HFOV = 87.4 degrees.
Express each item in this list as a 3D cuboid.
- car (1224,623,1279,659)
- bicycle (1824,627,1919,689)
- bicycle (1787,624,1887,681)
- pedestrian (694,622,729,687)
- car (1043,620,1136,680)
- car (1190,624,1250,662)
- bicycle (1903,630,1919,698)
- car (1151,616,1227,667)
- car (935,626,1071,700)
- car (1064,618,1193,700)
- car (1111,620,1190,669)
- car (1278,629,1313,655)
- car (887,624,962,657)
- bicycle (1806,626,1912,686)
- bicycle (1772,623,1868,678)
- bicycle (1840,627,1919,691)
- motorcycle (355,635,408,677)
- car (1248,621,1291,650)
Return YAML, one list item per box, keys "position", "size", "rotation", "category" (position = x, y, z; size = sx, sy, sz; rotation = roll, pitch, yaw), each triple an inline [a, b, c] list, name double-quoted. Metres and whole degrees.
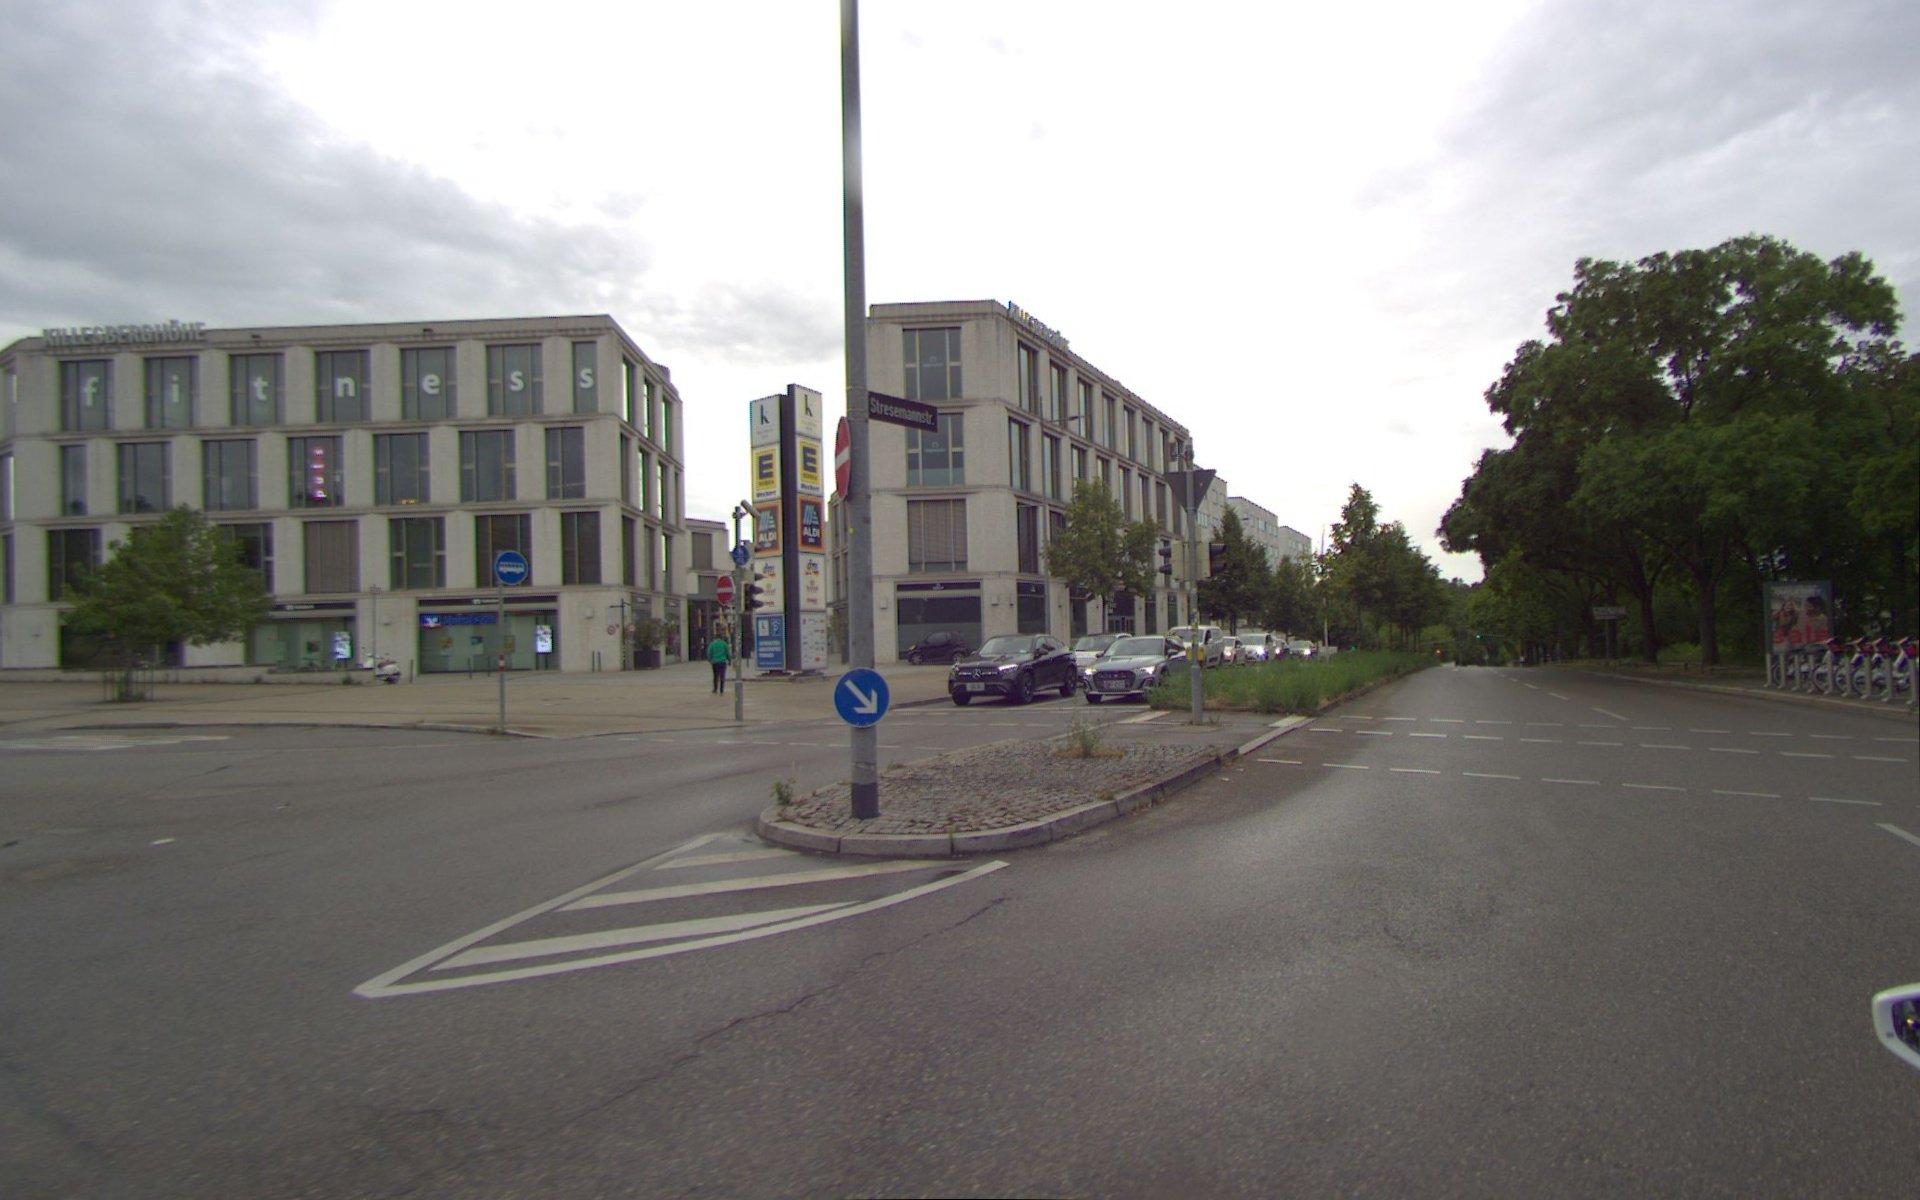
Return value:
- position: [14.954, 2.051, 51.309]
  size: [1.802, 1.622, 4.668]
  rotation: [-3, -1, 27]
  category: "car"
- position: [18.461, 1.157, 20.189]
  size: [1.461, 1.146, 0.557]
  rotation: [-5, -4, 21]
  category: "bicycle"
- position: [19.226, 1.165, 22.054]
  size: [1.461, 1.146, 0.557]
  rotation: [-5, -4, 21]
  category: "bicycle"
- position: [-6.747, 1.462, 27.295]
  size: [0.744, 1.709, 0.675]
  rotation: [0, -1, -33]
  category: "pedestrian"
- position: [3.990, 1.471, 30.421]
  size: [1.625, 1.597, 3.698]
  rotation: [-3, -1, 26]
  category: "car"
- position: [11.827, 1.919, 45.497]
  size: [1.717, 1.487, 4.055]
  rotation: [-3, -1, 27]
  category: "car"
- position: [17.133, 1.045, 16.968]
  size: [1.570, 1.146, 0.557]
  rotation: [-5, -4, 21]
  category: "bicycle"
- position: [9.161, 1.588, 39.962]
  size: [1.815, 1.826, 4.766]
  rotation: [-1, 0, 27]
  category: "car"
- position: [1.142, 1.485, 24.519]
  size: [1.797, 1.539, 4.060]
  rotation: [-4, -2, 25]
  category: "car"
- position: [3.971, 1.268, 23.084]
  size: [1.820, 1.596, 4.160]
  rotation: [-1, 0, 26]
  category: "car"
- position: [6.656, 1.515, 34.800]
  size: [1.689, 1.479, 3.746]
  rotation: [-3, -1, 26]
  category: "car"
- position: [21.966, 2.729, 65.684]
  size: [1.669, 1.602, 4.013]
  rotation: [-1, -1, 26]
  category: "car"
- position: [-1.564, 1.805, 45.102]
  size: [3.231, 1.395, 1.568]
  rotation: [-1, -1, 1]
  category: "car"
- position: [18.792, 1.180, 21.038]
  size: [1.461, 1.146, 0.557]
  rotation: [-5, -4, 21]
  category: "bicycle"
- position: [19.558, 1.159, 22.874]
  size: [1.461, 1.146, 0.557]
  rotation: [-5, -4, 21]
  category: "bicycle"
- position: [18.130, 1.134, 19.448]
  size: [1.461, 1.146, 0.557]
  rotation: [-5, -4, 21]
  category: "bicycle"
- position: [-21.144, 2.027, 36.729]
  size: [0.518, 1.421, 1.755]
  rotation: [-1, 0, 20]
  category: "motorcycle"
- position: [17.599, 2.004, 57.099]
  size: [1.616, 1.429, 3.991]
  rotation: [-3, -1, 27]
  category: "car"
